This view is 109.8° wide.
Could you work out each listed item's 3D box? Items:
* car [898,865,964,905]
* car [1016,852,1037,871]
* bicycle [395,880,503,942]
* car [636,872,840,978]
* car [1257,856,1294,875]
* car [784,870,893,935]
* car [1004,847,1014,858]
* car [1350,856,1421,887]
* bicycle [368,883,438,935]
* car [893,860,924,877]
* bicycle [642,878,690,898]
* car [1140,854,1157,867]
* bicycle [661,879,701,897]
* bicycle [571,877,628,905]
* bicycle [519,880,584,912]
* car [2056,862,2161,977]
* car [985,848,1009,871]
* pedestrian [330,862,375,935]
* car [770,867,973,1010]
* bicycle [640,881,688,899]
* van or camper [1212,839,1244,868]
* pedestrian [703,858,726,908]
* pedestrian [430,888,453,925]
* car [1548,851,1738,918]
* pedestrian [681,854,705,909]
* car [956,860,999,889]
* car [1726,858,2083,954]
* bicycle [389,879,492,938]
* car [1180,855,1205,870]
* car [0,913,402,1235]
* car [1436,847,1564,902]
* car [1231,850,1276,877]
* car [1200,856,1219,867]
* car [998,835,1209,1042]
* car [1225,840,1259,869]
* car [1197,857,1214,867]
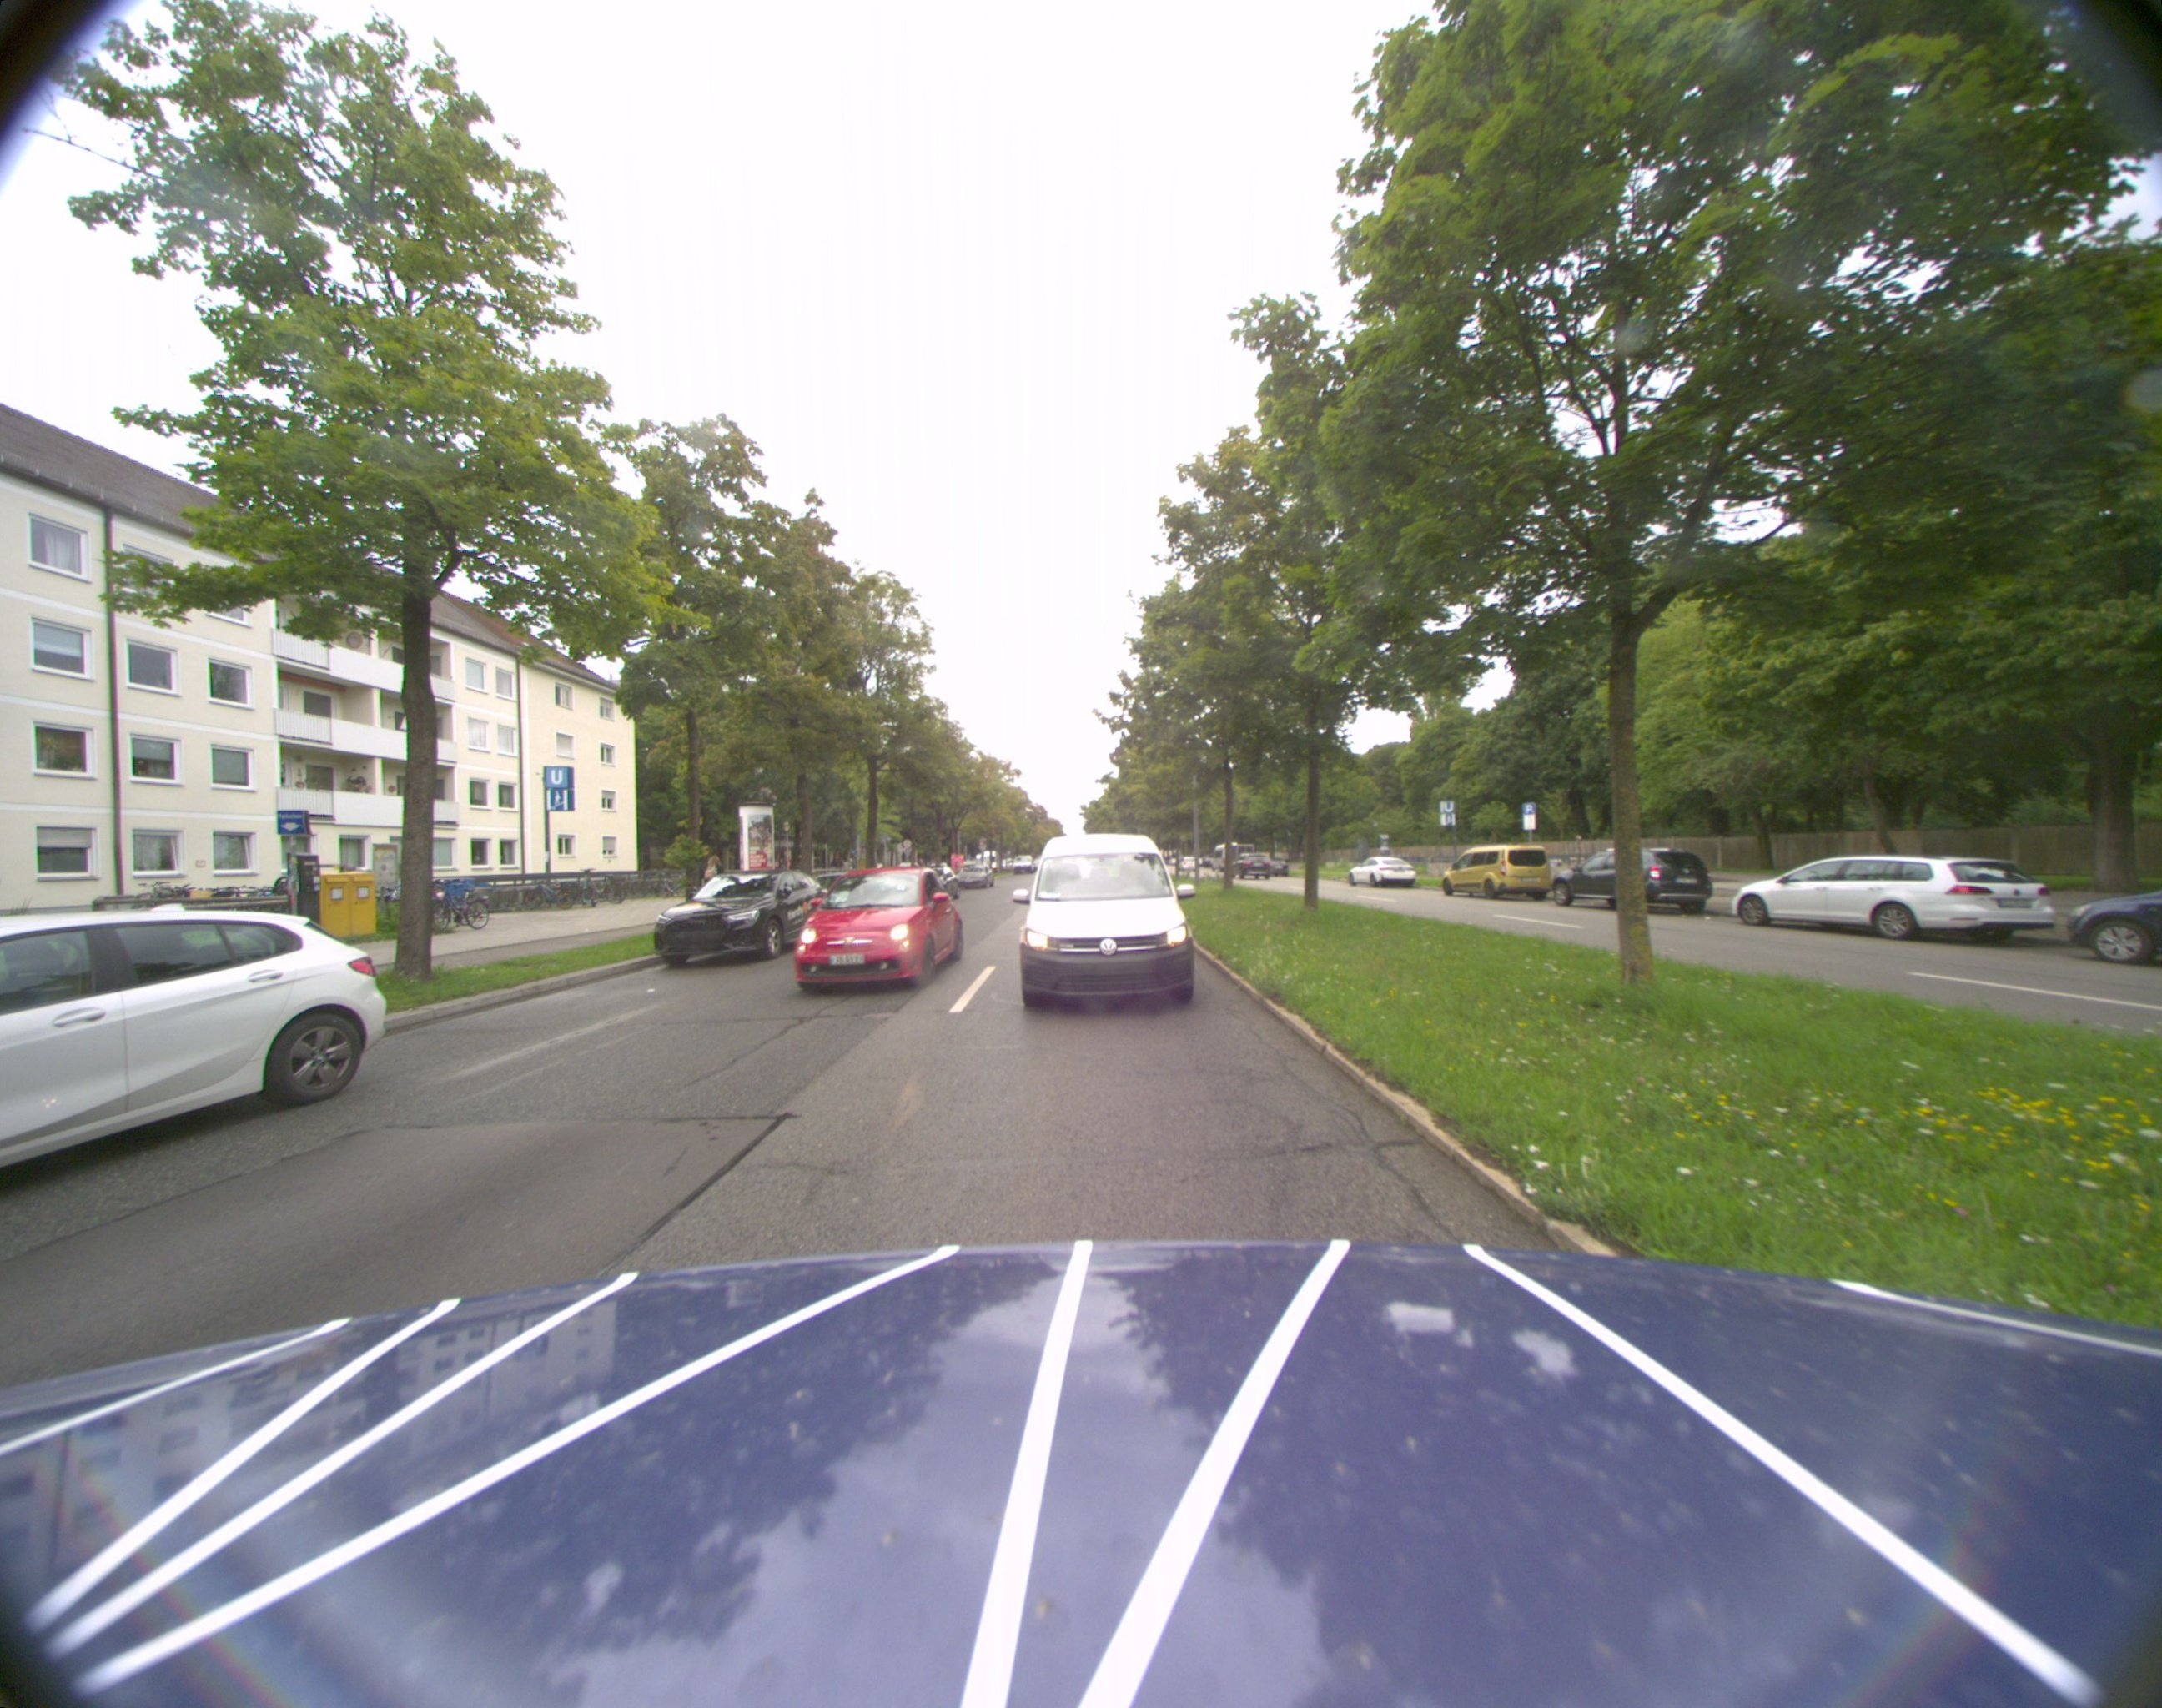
[{"bbox_3d":[-5.912,1.188,30.393,1.827,1.371,4.300,-2,0,-1],"label":"car"},{"bbox_3d":[-5.861,0.797,82.023,1.827,1.939,4.300,-2,0,1],"label":"car"},{"bbox_3d":[-13.688,1.191,16.535,0.545,1.182,2.076,-2,0,1],"label":"bicycle"},{"bbox_3d":[-6.050,1.164,14.034,1.826,1.502,4.157,-2,0,0],"label":"car"},{"bbox_3d":[14.892,0.829,58.419,1.717,1.401,4.040,0,0,-2],"label":"car"},{"bbox_3d":[-6.169,1.186,19.778,1.617,1.371,3.926,-2,0,-1],"label":"car"},{"bbox_3d":[-17.051,-0.409,180.731,1.999,2.440,4.999,-2,0,-1],"label":"car"},{"bbox_3d":[14.775,0.813,37.079,1.717,1.434,4.040,0,0,-2],"label":"car"},{"bbox_3d":[-15.811,1.259,17.747,0.466,1.110,1.253,-2,0,1],"label":"bicycle"},{"bbox_3d":[-16.118,1.300,71.137,1.827,1.460,4.300,-2,0,1],"label":"car"},{"bbox_3d":[-16.693,1.367,30.568,1.599,0.691,0.498,-2,1,-4],"label":"bicycle"},{"bbox_3d":[9.315,0.883,105.376,1.866,1.649,4.500,1,0,0],"label":"car"},{"bbox_3d":[-16.418,1.409,31.203,1.392,0.709,0.498,1,0,-4],"label":"bicycle"},{"bbox_3d":[-16.539,1.268,26.093,1.599,0.910,0.498,0,1,-4],"label":"bicycle"},{"bbox_3d":[-16.458,1.310,23.643,1.599,0.910,0.498,-2,1,-4],"label":"bicycle"},{"bbox_3d":[14.537,0.845,8.693,1.826,1.438,3.787,1,0,-2],"label":"car"},{"bbox_3d":[-9.558,0.550,86.448,1.998,2.440,4.999,-2,1,1],"label":"car"},{"bbox_3d":[-17.160,1.038,17.906,0.560,1.664,0.519,-2,1,-19],"label":"pedestrian"},{"bbox_3d":[-2.698,1.001,10.829,1.723,1.492,4.300,-2,0,-1],"label":"car"},{"bbox_3d":[-16.325,1.400,29.755,1.599,0.634,0.498,1,0,-4],"label":"bicycle"},{"bbox_3d":[14.537,-0.029,75.368,1.999,2.791,4.931,0,0,-2],"label":"van or camper"},{"bbox_3d":[-11.953,0.924,24.784,0.560,1.595,0.519,-2,1,-19],"label":"pedestrian"},{"bbox_3d":[-16.490,1.338,19.591,0.338,0.915,0.395,-2,1,-28],"label":"pedestrian"},{"bbox_3d":[14.782,0.725,20.330,2.007,1.607,4.040,0,0,-2],"label":"car"},{"bbox_3d":[-12.558,0.871,24.628,0.560,1.745,0.656,-2,1,-19],"label":"pedestrian"},{"bbox_3d":[-5.954,1.145,44.151,1.827,1.460,4.300,-2,0,1],"label":"car"},{"bbox_3d":[14.680,0.823,14.003,1.826,1.461,4.300,0,0,-2],"label":"car"},{"bbox_3d":[-14.591,1.218,17.397,0.545,1.182,2.076,-2,0,1],"label":"bicycle"},{"bbox_3d":[11.324,0.865,77.595,1.866,1.447,4.500,1,0,0],"label":"car"},{"bbox_3d":[-6.337,1.237,3.857,1.826,1.428,4.287,-3,0,0],"label":"car"},{"bbox_3d":[14.484,0.639,26.626,1.862,1.761,4.533,0,0,-2],"label":"car"},{"bbox_3d":[11.152,0.603,49.376,1.866,1.659,4.500,1,0,0],"label":"car"},{"bbox_3d":[17.082,0.952,101.134,1.717,1.401,4.040,0,0,-2],"label":"car"},{"bbox_3d":[0.197,0.744,9.008,1.772,1.742,4.545,-3,0,0],"label":"car"},{"bbox_3d":[14.920,0.063,70.617,1.999,2.576,4.499,0,0,-2],"label":"car"},{"bbox_3d":[18.175,1.153,111.128,1.717,1.401,4.040,0,0,-2],"label":"car"}]
